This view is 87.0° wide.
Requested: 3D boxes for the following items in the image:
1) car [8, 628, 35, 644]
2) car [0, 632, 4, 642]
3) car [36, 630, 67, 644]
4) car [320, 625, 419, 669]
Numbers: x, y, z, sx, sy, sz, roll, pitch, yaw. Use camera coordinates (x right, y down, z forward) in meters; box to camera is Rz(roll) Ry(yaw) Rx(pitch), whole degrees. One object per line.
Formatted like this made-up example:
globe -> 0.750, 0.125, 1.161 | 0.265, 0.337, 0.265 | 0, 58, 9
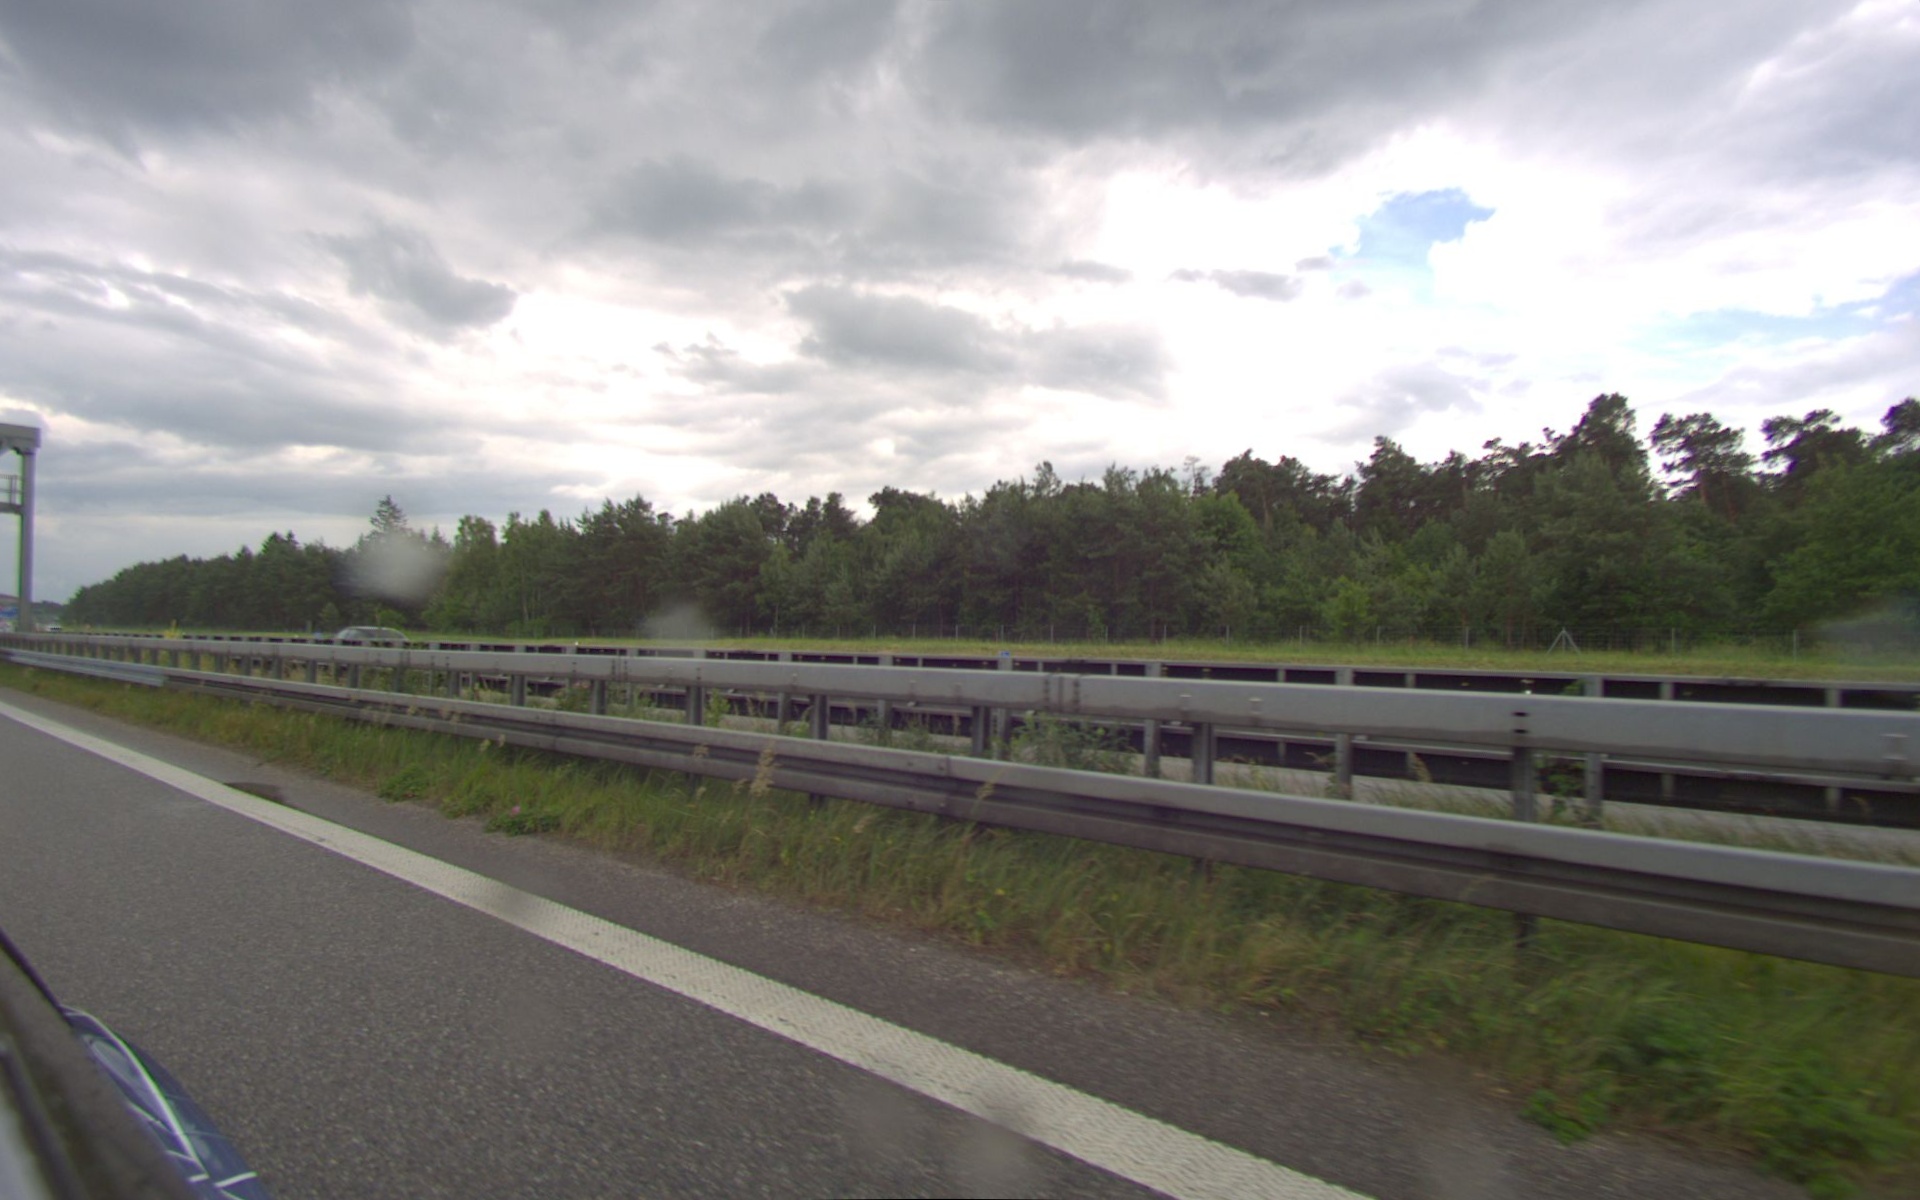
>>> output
car -> -119.238, 4.591, 128.543 | 4.722, 1.931, 1.972 | -2, -4, 41
car -> -150.766, 5.755, 157.898 | 4.607, 1.512, 1.972 | -1, -4, 42
car -> -97.657, 3.968, 108.793 | 4.318, 1.456, 1.830 | -1, -3, 40
car -> -20.907, 1.633, 35.795 | 4.137, 1.460, 1.739 | -2, -2, 40
